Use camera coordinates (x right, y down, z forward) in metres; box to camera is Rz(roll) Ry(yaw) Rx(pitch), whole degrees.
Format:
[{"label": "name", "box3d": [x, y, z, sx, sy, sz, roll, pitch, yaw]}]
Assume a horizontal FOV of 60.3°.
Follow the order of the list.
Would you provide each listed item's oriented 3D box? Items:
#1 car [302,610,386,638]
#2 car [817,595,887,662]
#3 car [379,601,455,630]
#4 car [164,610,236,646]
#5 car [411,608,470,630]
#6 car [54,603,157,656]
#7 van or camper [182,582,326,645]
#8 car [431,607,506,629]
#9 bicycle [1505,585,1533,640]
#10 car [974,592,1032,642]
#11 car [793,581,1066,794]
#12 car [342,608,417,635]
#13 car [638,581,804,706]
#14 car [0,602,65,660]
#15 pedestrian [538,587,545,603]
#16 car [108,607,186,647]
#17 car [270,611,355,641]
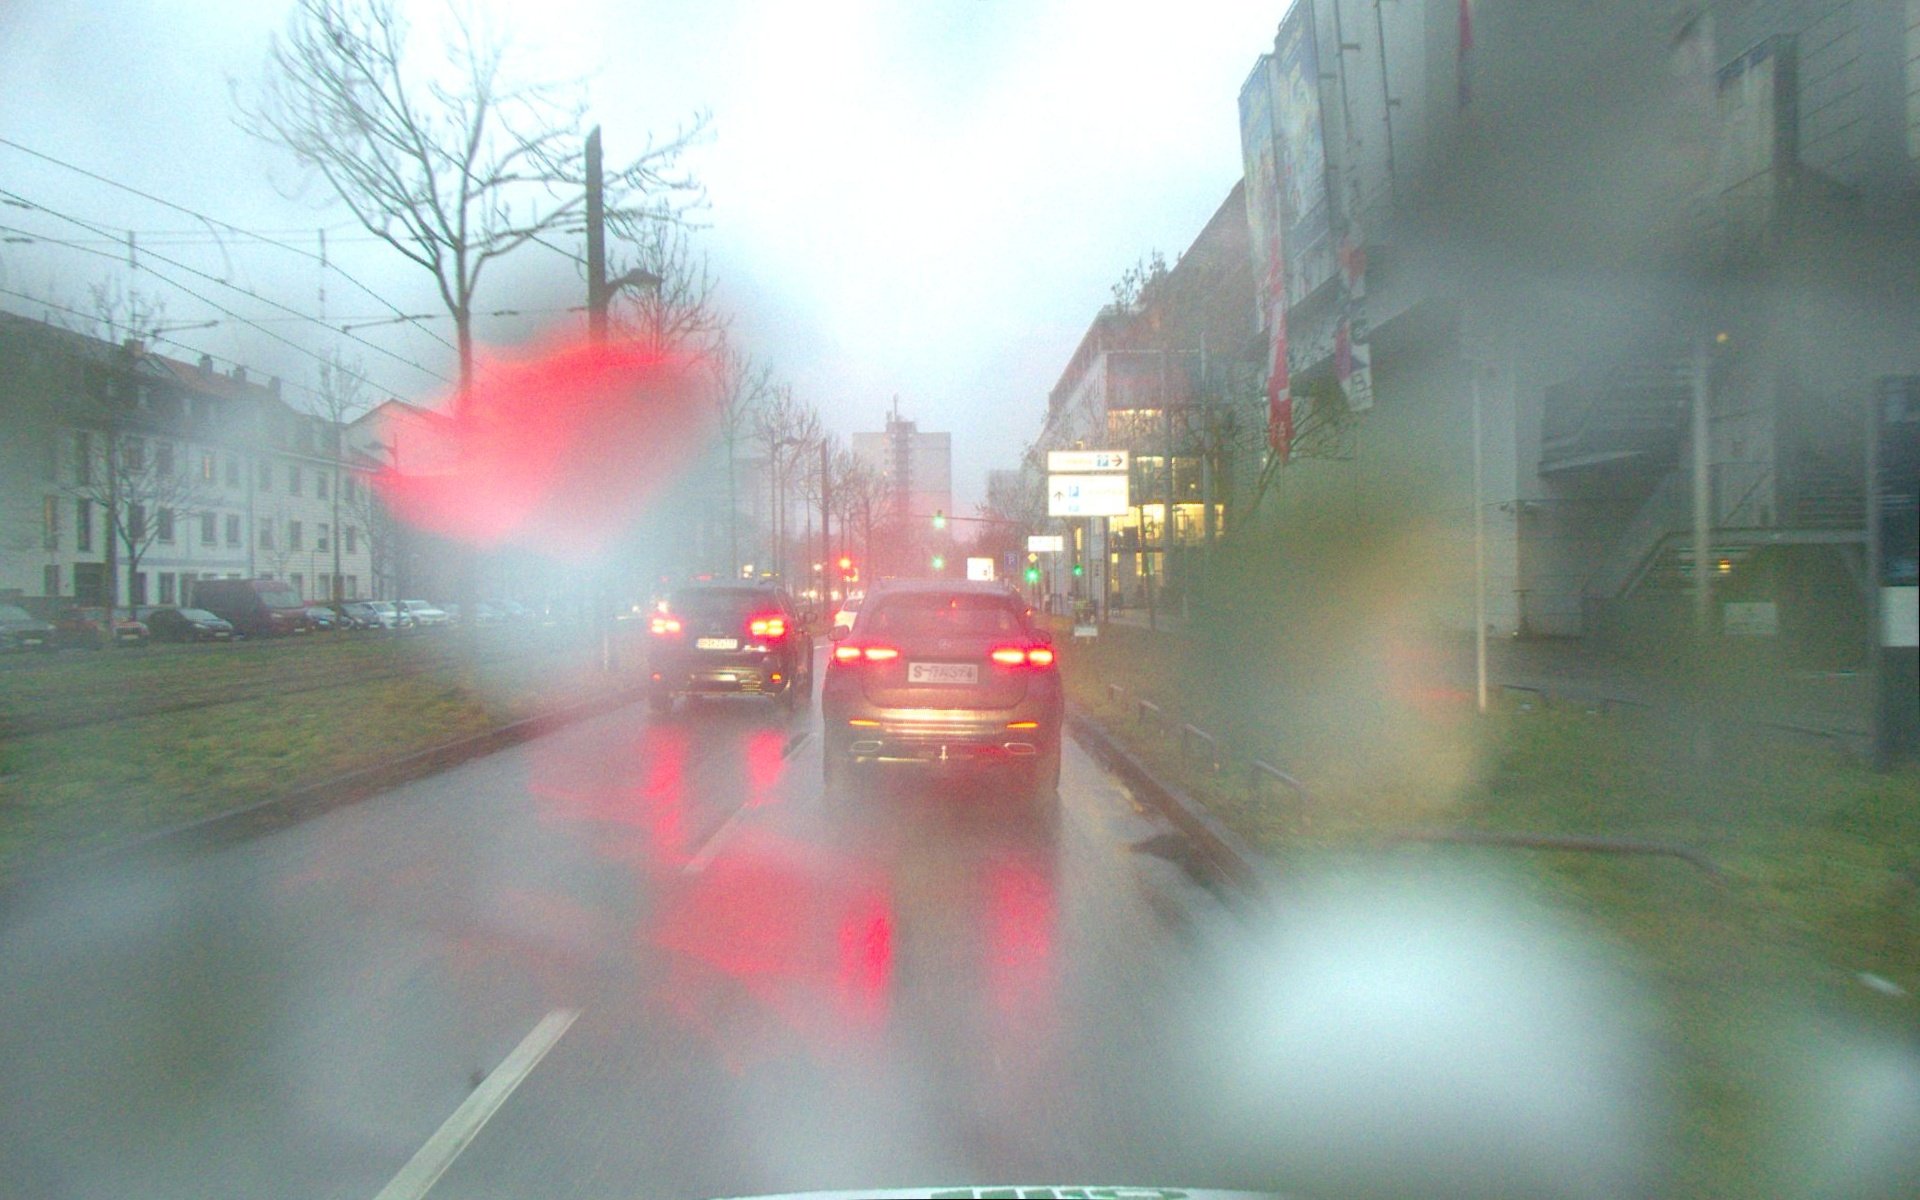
[{"label": "car", "box3d": [-28.499, 1.098, 76.540, 3.464, 1.221, 1.878, 1, 0, 31]}, {"label": "car", "box3d": [-2.841, 0.730, 44.004, 1.655, 1.664, 3.473, 1, 0, -1]}, {"label": "car", "box3d": [-28.537, 0.789, 86.822, 4.042, 1.402, 1.766, 1, 0, 36]}, {"label": "car", "box3d": [-28.066, 1.029, 61.052, 2.835, 1.225, 1.381, 1, 0, 41]}, {"label": "car", "box3d": [-28.338, 1.029, 90.240, 2.978, 1.167, 1.394, 1, 0, 30]}, {"label": "car", "box3d": [-28.080, 0.946, 54.309, 3.779, 1.616, 1.732, 1, 0, 41]}, {"label": "van or camper", "box3d": [-28.989, 0.511, 67.813, 6.737, 2.401, 1.994, 1, 0, 33]}, {"label": "car", "box3d": [-27.728, 1.031, 93.251, 4.098, 1.135, 1.678, 1, 0, 30]}, {"label": "bicycle", "box3d": [13.560, 0.293, 40.112, 0.402, 1.307, 1.742, 1, 0, 26]}, {"label": "car", "box3d": [1.450, 0.551, 54.852, 1.828, 1.570, 3.611, 1, 0, 2]}, {"label": "car", "box3d": [-0.250, 0.635, 13.837, 1.953, 1.509, 3.699, 1, 0, -1]}, {"label": "car", "box3d": [-28.007, 1.028, 79.818, 3.345, 1.167, 1.688, 1, 0, 31]}, {"label": "car", "box3d": [-3.066, 0.518, 21.953, 1.781, 1.476, 3.998, 1, 0, -3]}, {"label": "car", "box3d": [-27.842, 0.861, 47.971, 4.079, 1.568, 1.664, 1, 0, 36]}, {"label": "pedestrian", "box3d": [-30.809, -0.368, 121.840, 0.343, 1.205, 0.427, 1, 0, -42]}, {"label": "car", "box3d": [-28.822, 0.942, 58.619, 3.040, 1.325, 1.381, 1, 0, 41]}, {"label": "car", "box3d": [-28.828, 1.132, 73.617, 3.464, 1.233, 1.744, 1, 0, 31]}]
